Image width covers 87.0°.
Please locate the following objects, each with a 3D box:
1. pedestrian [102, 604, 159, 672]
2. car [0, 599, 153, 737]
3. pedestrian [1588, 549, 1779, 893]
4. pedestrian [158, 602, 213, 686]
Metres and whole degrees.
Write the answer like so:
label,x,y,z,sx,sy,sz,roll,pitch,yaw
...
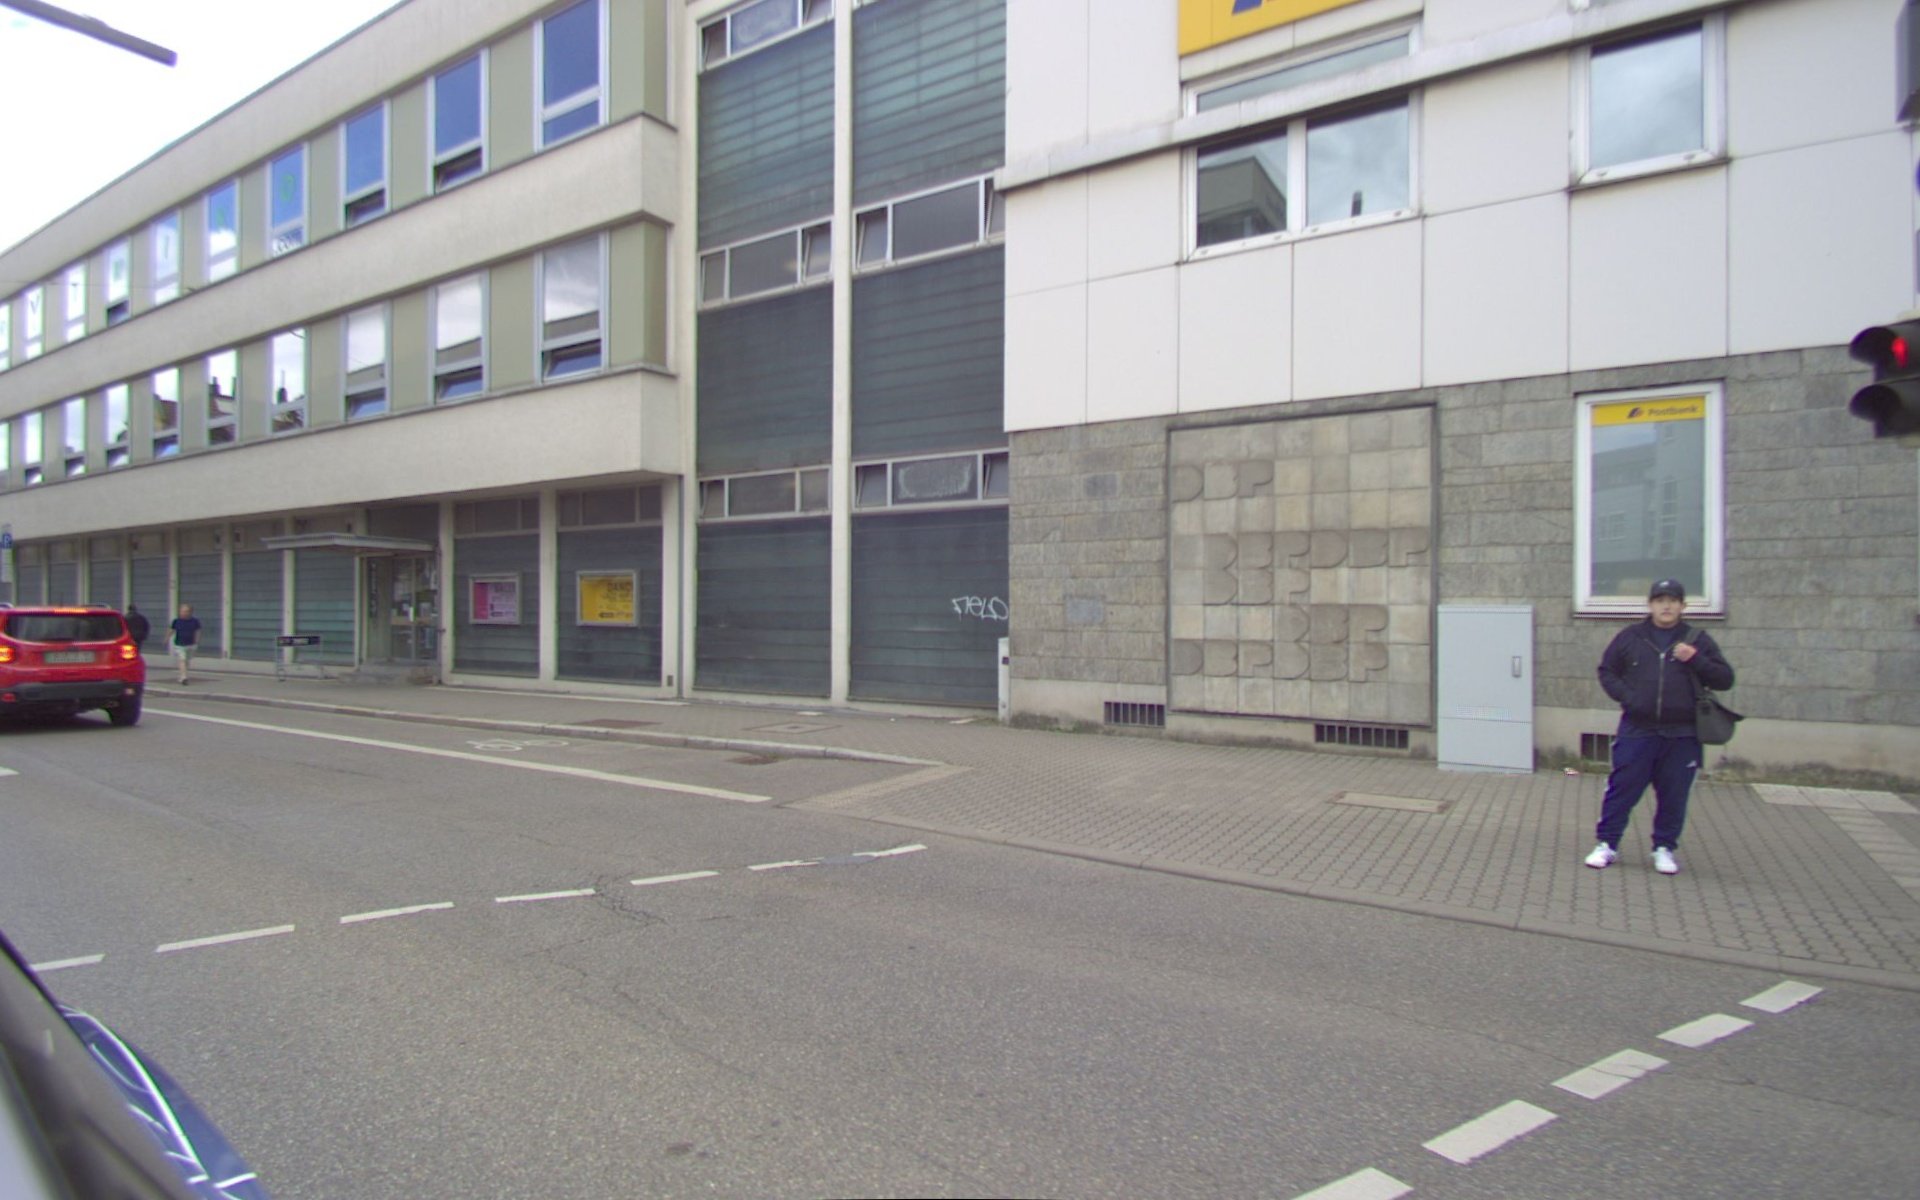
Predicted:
label,x,y,z,sx,sy,sz,roll,pitch,yaw
pedestrian,-22.088,0.994,26.947,1.028,1.731,0.855,-1,0,31
car,-13.176,0.882,14.221,3.887,1.707,1.784,-1,-2,34
pedestrian,3.995,0.608,5.591,0.782,1.731,0.641,-1,0,41
pedestrian,-16.511,0.923,21.581,1.051,1.731,0.585,-1,-1,31
